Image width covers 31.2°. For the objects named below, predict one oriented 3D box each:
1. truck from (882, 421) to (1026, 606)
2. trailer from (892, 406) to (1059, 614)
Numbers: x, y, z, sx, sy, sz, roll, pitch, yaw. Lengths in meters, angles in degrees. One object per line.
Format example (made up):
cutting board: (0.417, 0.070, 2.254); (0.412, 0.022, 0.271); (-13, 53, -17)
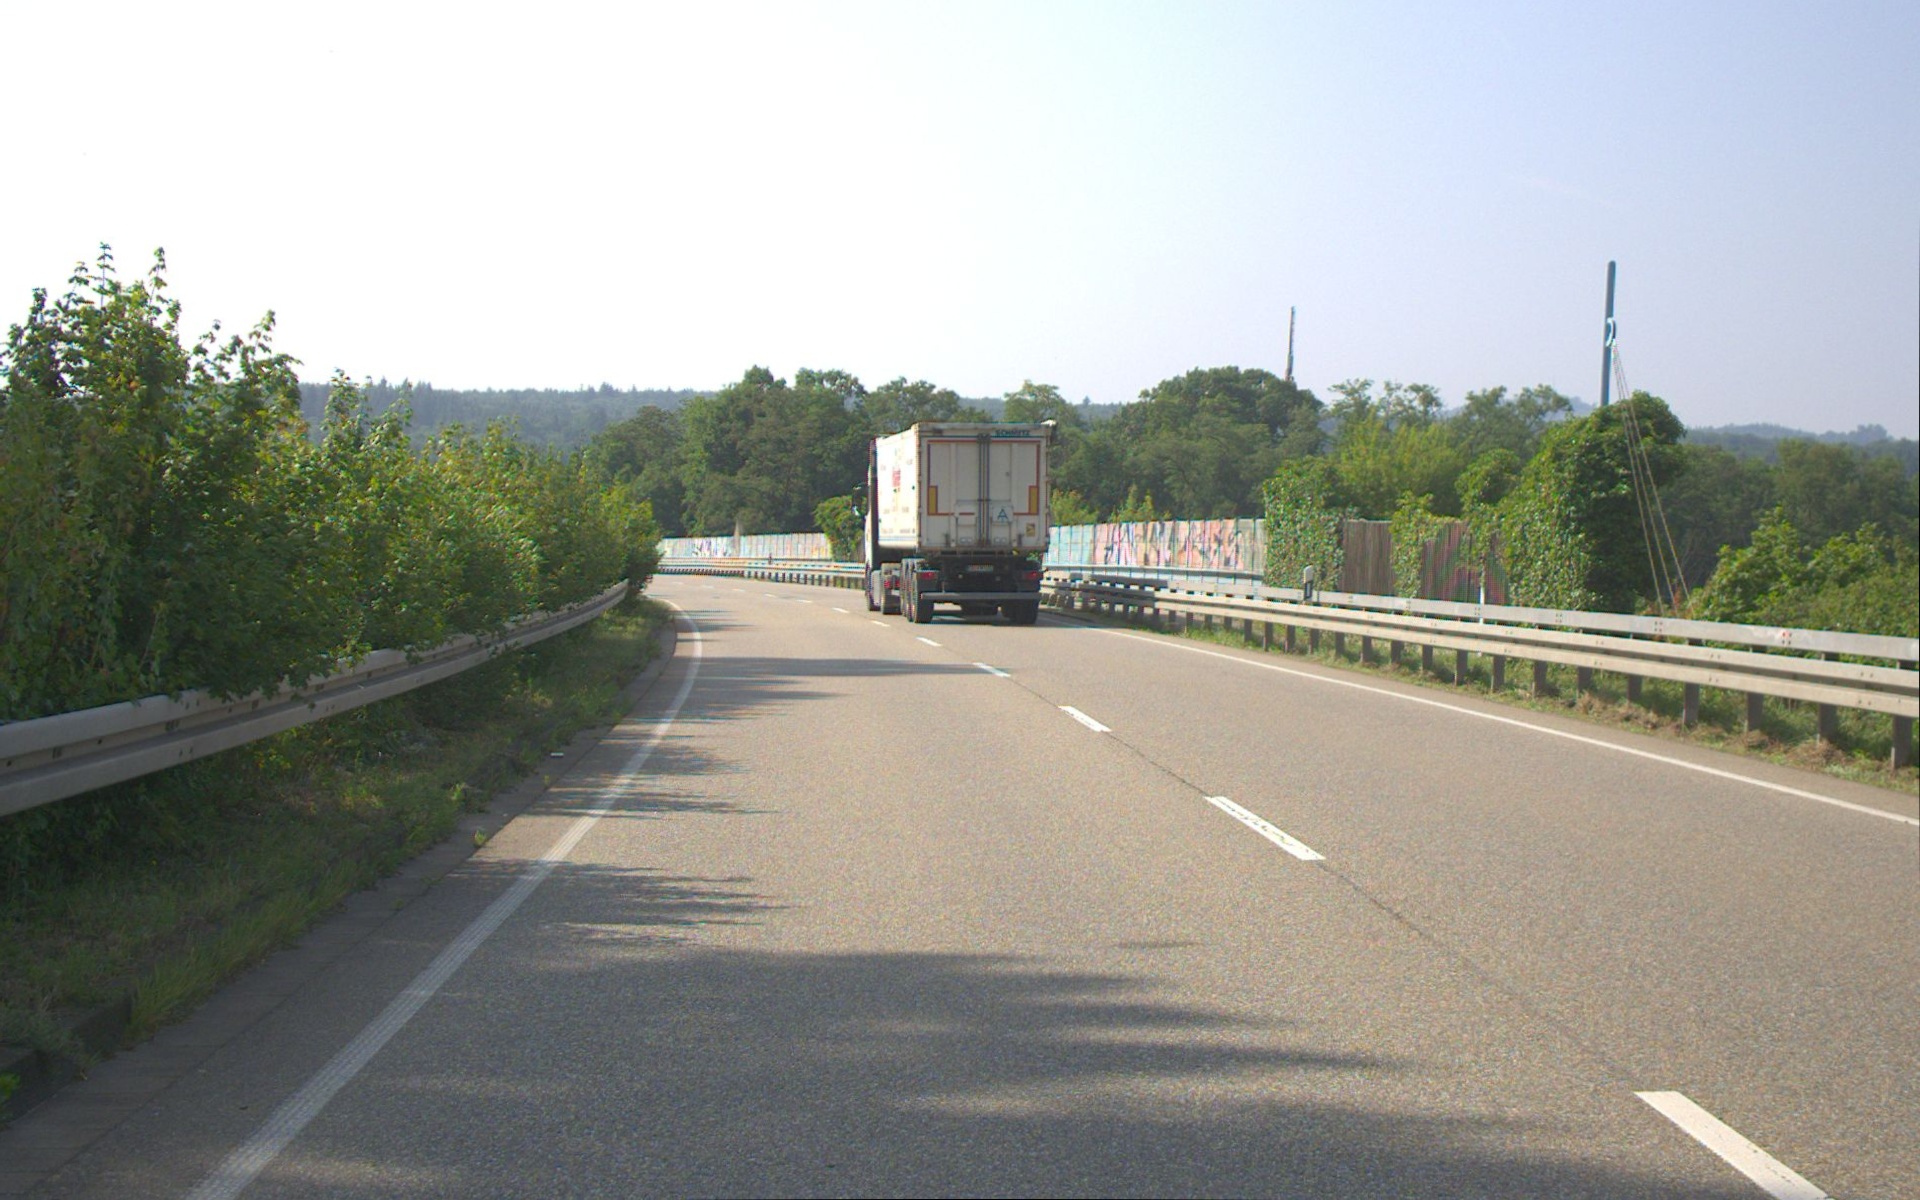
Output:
truck: (-0.198, -1.891, 75.671); (2.658, 3.883, 5.649); (1, 1, -5)
trailer: (0.204, -1.775, 69.740); (2.679, 3.894, 9.674); (1, 1, -4)
